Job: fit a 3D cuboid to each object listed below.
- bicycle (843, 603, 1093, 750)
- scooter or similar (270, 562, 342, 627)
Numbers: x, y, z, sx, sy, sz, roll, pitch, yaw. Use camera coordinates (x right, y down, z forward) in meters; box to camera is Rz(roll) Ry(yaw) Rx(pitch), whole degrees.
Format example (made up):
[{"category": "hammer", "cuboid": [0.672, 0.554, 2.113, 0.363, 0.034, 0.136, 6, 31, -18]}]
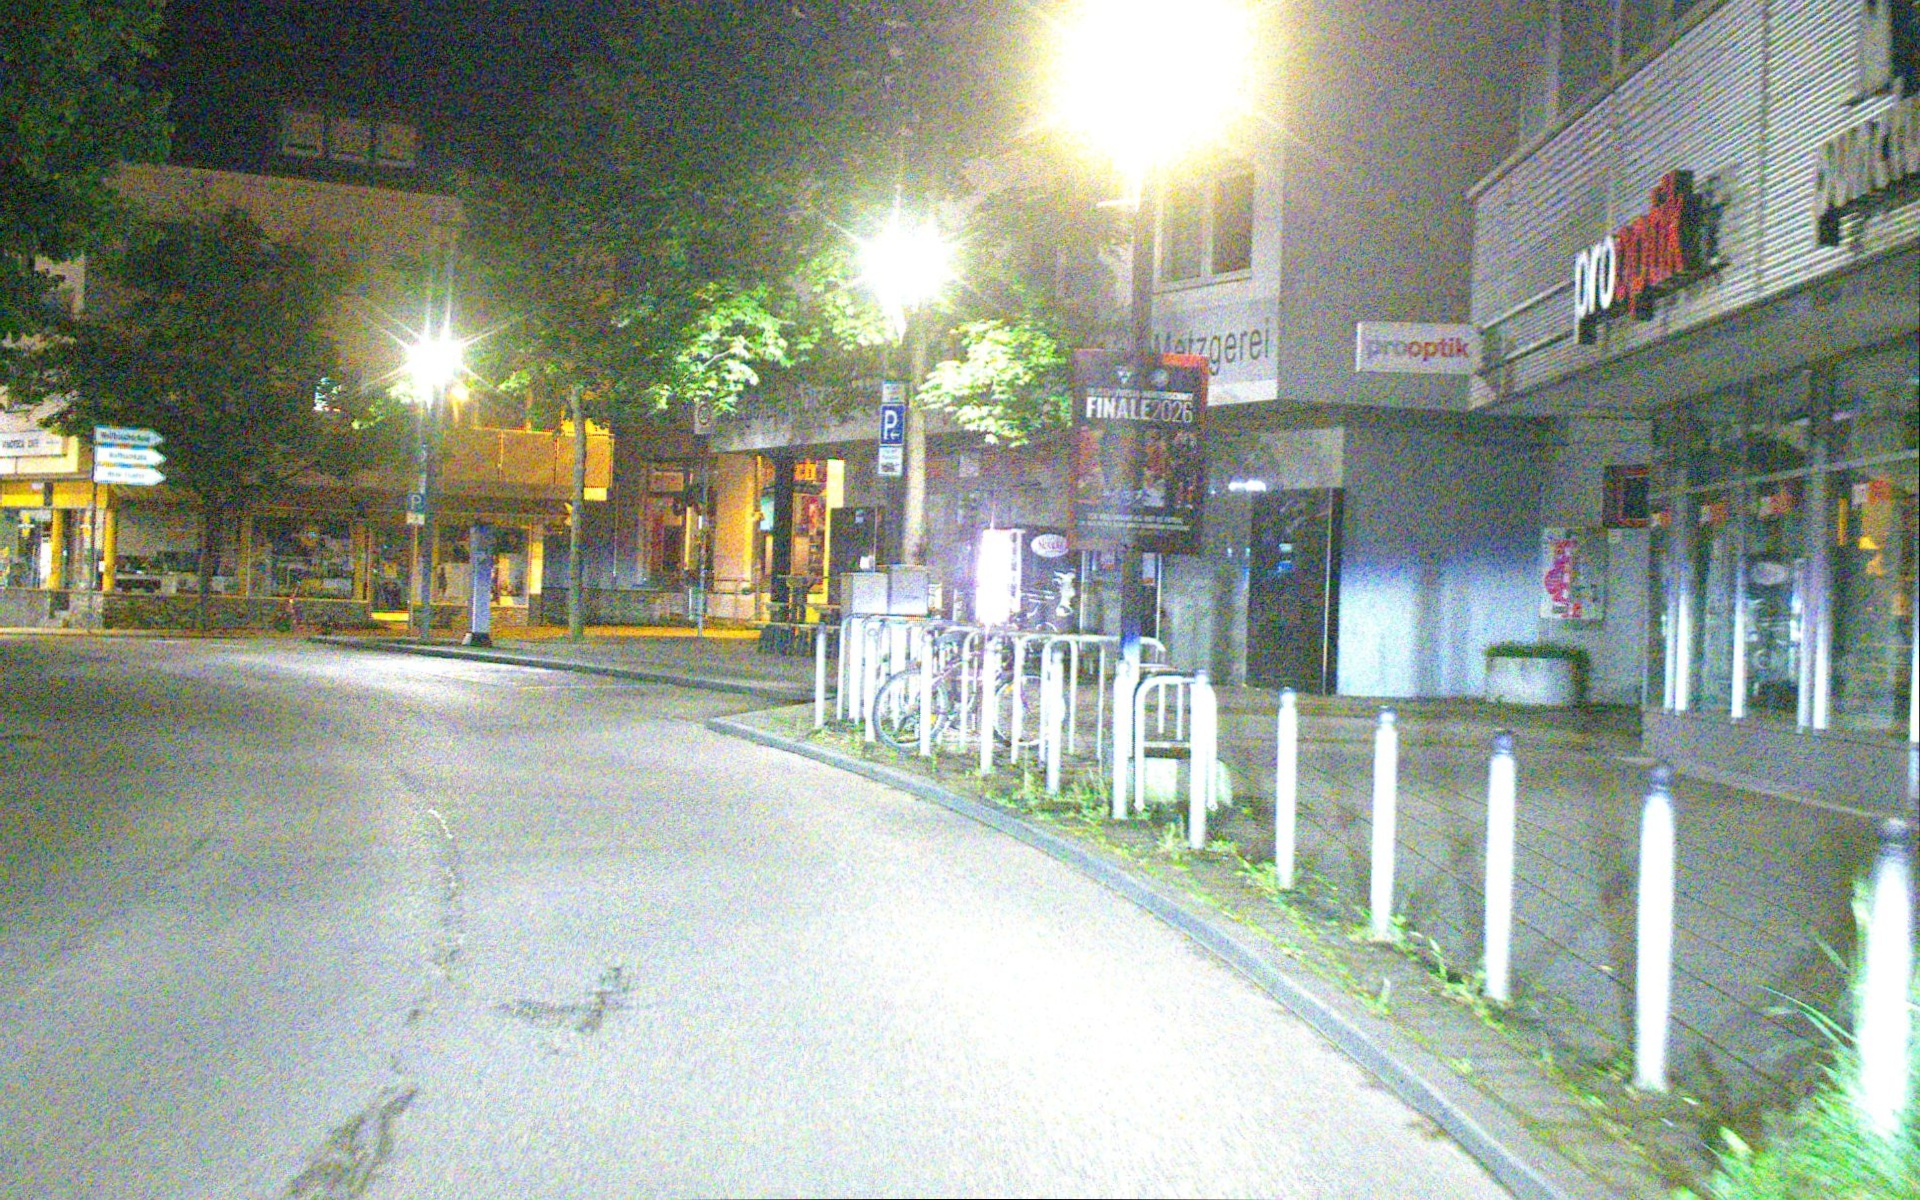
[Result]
[{"category": "bicycle", "cuboid": [0.063, 0.583, 26.201, 1.749, 1.059, 0.656, 2, 1, -23]}, {"category": "scooter or similar", "cuboid": [-13.117, -0.107, 68.935, 1.246, 1.223, 0.598, 3, 1, -26]}]
